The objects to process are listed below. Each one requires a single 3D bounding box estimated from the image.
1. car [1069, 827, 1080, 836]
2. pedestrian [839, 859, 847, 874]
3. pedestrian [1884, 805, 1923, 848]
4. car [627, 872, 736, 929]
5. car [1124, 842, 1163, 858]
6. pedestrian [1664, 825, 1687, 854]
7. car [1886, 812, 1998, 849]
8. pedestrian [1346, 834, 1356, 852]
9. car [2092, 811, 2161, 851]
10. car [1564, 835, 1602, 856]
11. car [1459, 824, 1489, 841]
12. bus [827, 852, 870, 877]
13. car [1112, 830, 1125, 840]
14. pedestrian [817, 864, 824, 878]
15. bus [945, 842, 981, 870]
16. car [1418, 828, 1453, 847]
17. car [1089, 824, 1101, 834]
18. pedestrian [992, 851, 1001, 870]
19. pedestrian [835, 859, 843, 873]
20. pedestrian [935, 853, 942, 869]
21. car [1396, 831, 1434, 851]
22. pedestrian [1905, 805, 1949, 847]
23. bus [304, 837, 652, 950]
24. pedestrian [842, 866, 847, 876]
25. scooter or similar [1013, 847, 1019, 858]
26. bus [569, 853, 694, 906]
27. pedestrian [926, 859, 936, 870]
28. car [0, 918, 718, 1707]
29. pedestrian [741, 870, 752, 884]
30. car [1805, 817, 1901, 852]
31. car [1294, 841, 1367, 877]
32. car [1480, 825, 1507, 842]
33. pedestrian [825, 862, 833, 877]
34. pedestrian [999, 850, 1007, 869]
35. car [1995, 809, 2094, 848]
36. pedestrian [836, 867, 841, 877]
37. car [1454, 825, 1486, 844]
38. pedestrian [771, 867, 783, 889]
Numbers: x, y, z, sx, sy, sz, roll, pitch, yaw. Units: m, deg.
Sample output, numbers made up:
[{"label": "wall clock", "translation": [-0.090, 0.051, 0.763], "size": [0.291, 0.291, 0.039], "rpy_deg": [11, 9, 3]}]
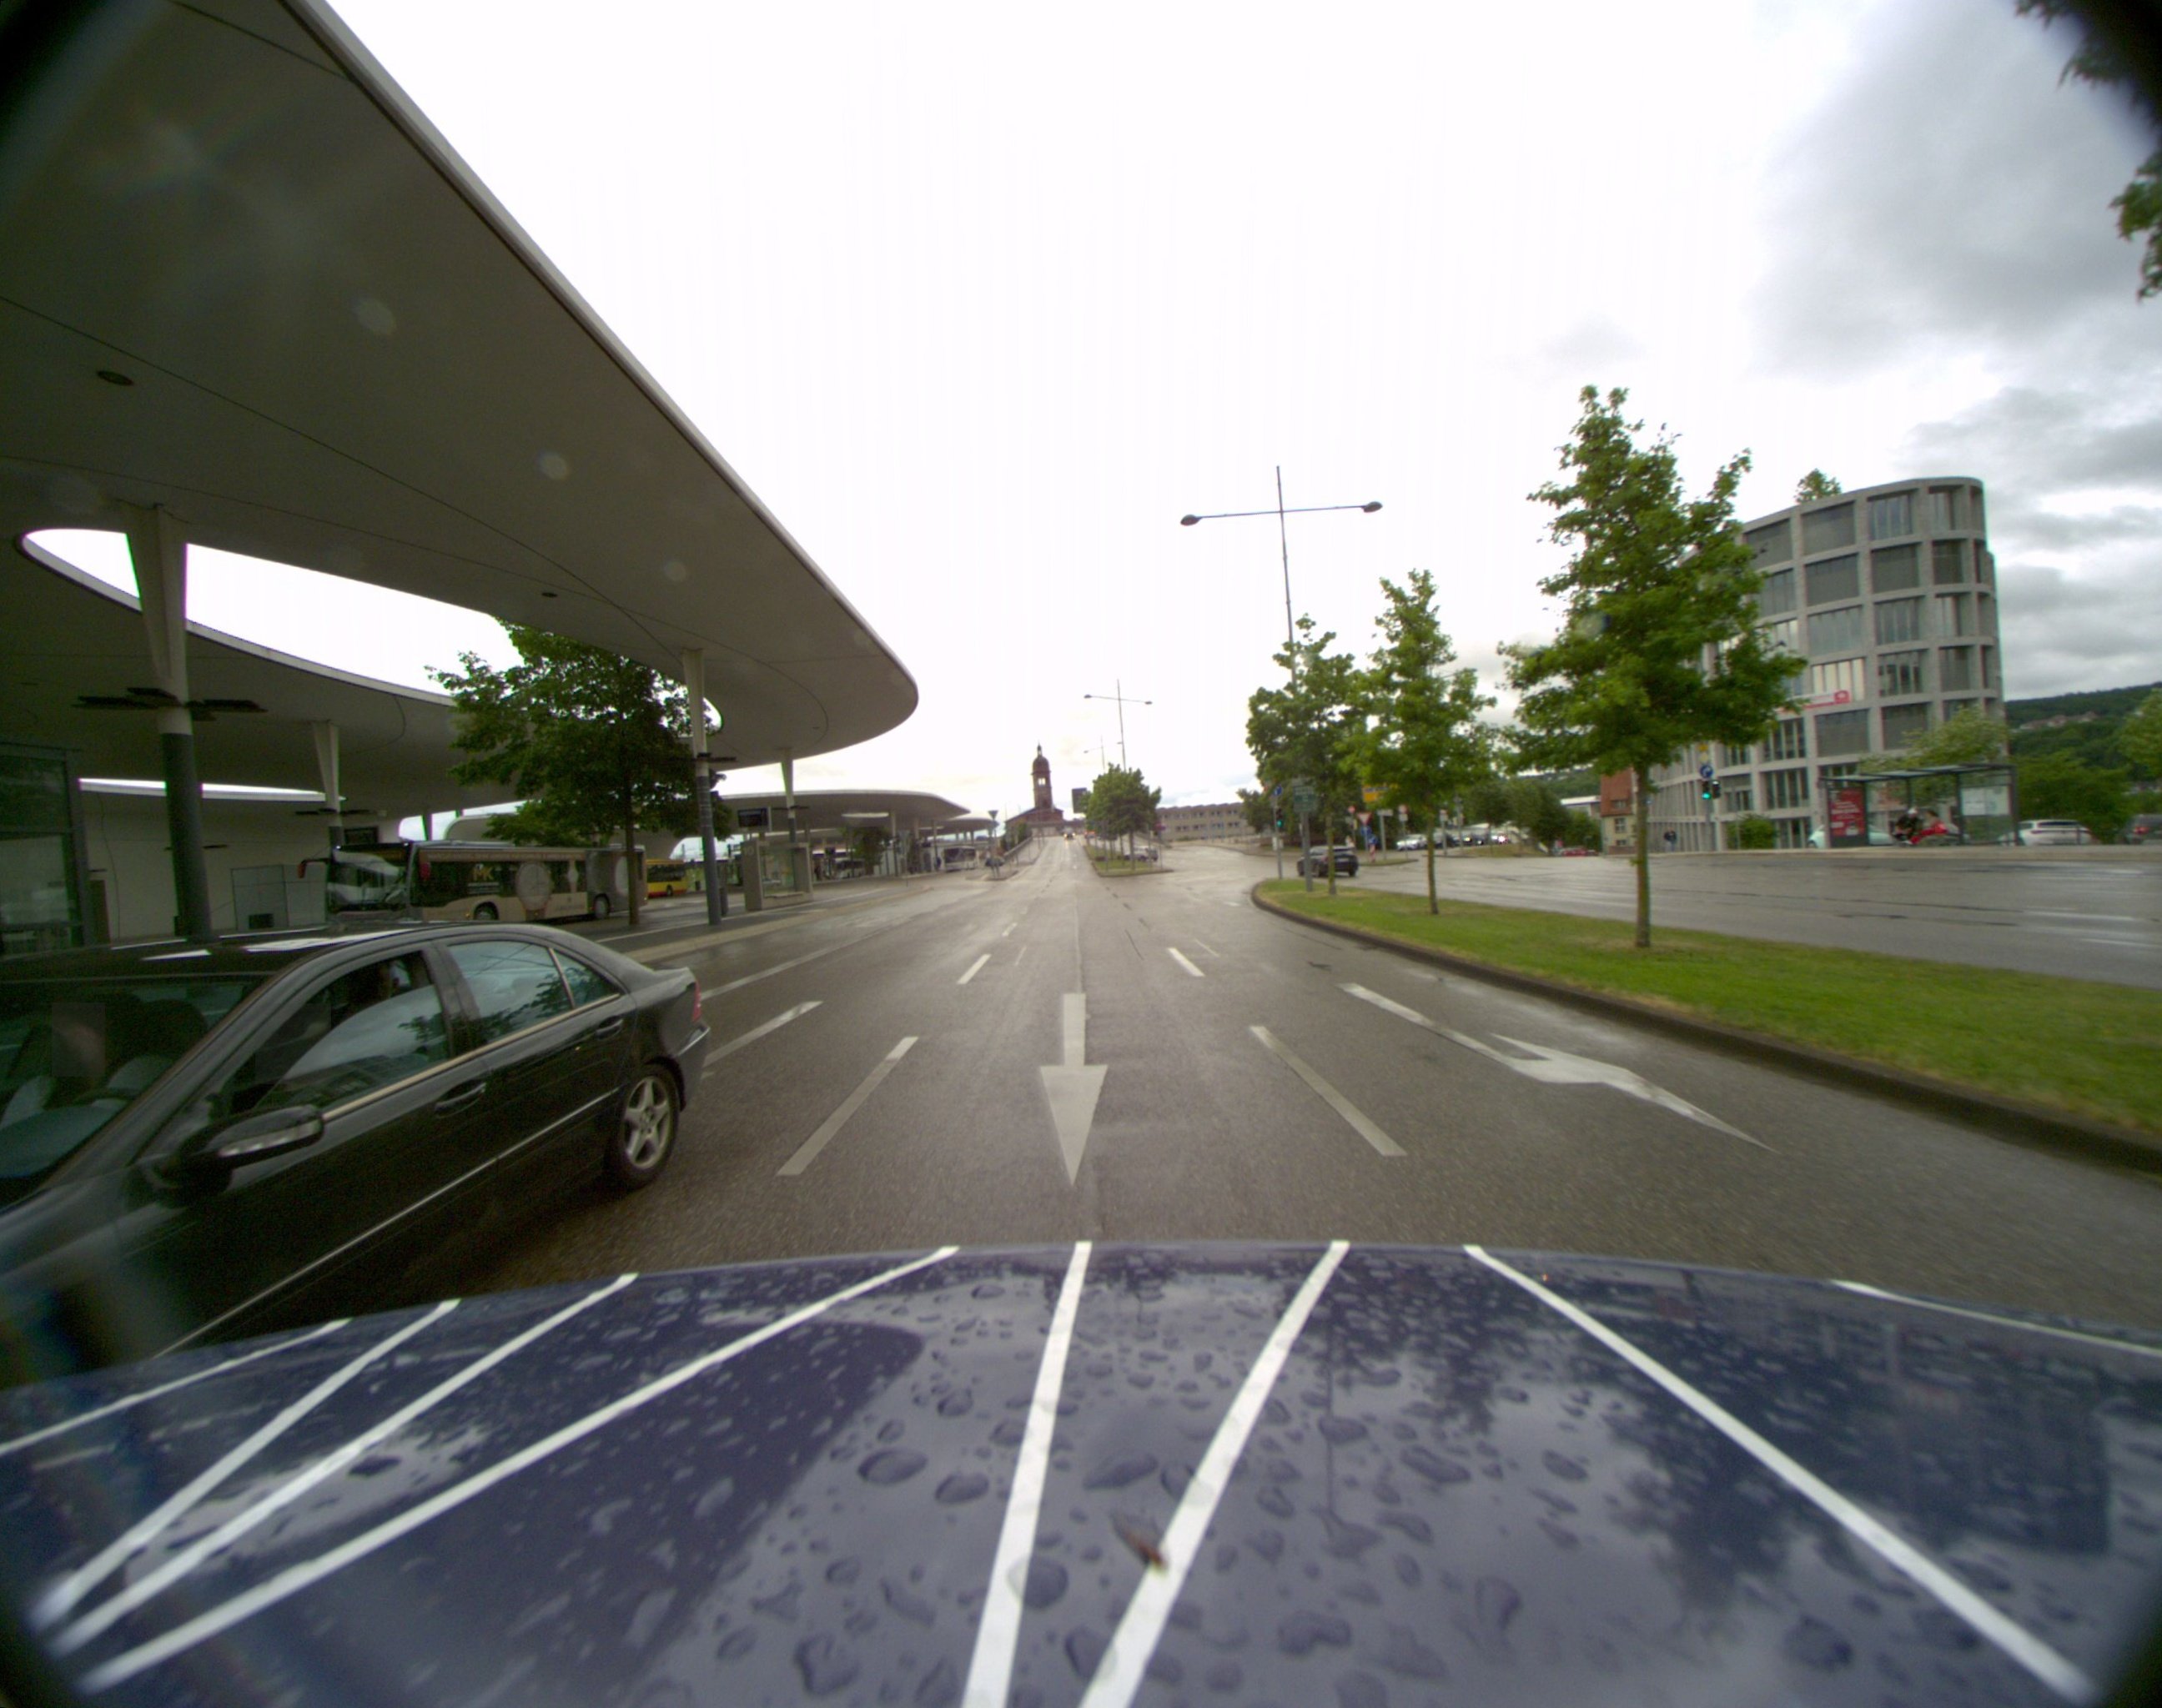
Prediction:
[{"label": "car", "translation": [-1.288, -4.348, 146.980], "size": [1.852, 1.643, 4.417], "rpy_deg": [-4, 1, -3]}, {"label": "pedestrian", "translation": [-28.030, 1.463, 89.423], "size": [0.644, 1.645, 0.638], "rpy_deg": [-4, 1, -40]}, {"label": "pedestrian", "translation": [29.204, -0.974, 26.996], "size": [0.680, 1.460, 0.625], "rpy_deg": [-4, 1, -2]}, {"label": "car", "translation": [-12.188, 1.369, 23.426], "size": [1.651, 1.444, 3.237], "rpy_deg": [-4, 0, -2]}, {"label": "car", "translation": [6.035, -0.372, 73.611], "size": [1.640, 1.440, 3.866], "rpy_deg": [-4, 2, -34]}, {"label": "pedestrian", "translation": [33.571, -0.820, 42.904], "size": [0.673, 1.574, 0.705], "rpy_deg": [-4, 2, -3]}, {"label": "car", "translation": [39.112, -1.066, 34.636], "size": [1.630, 1.487, 3.585], "rpy_deg": [-3, 1, 15]}, {"label": "pedestrian", "translation": [24.540, -0.978, 69.073], "size": [0.653, 1.562, 0.631], "rpy_deg": [-2, 3, 5]}, {"label": "car", "translation": [43.057, -0.959, 30.781], "size": [1.628, 1.487, 3.588], "rpy_deg": [-2, 1, 38]}, {"label": "car", "translation": [41.915, -0.757, 63.375], "size": [4.040, 1.543, 1.823], "rpy_deg": [-4, 1, -44]}, {"label": "car", "translation": [39.506, -2.162, 76.354], "size": [1.723, 1.559, 3.845], "rpy_deg": [-2, 2, 42]}, {"label": "bus", "translation": [-35.593, 1.538, 116.790], "size": [2.795, 3.239, 12.137], "rpy_deg": [-4, 1, -1]}, {"label": "car", "translation": [6.361, -3.215, 129.587], "size": [1.852, 1.495, 4.918], "rpy_deg": [-4, 1, 1]}, {"label": "pedestrian", "translation": [-28.231, 1.814, 82.478], "size": [0.522, 1.494, 0.381], "rpy_deg": [-5, 2, -40]}, {"label": "bus", "translation": [-15.244, 0.215, 99.234], "size": [2.852, 3.342, 12.424], "rpy_deg": [-1, 0, -1]}, {"label": "car", "translation": [31.714, -1.486, 67.945], "size": [1.723, 1.559, 3.845], "rpy_deg": [-2, 2, 42]}, {"label": "car", "translation": [2.584, -4.680, 143.797], "size": [1.852, 1.643, 4.417], "rpy_deg": [-4, 1, -3]}, {"label": "pedestrian", "translation": [-7.489, 0.571, 67.220], "size": [0.590, 1.662, 0.580], "rpy_deg": [-6, 6, -1]}, {"label": "pedestrian", "translation": [-28.116, 1.410, 88.307], "size": [0.570, 1.645, 0.557], "rpy_deg": [-3, 1, 5]}, {"label": "pedestrian", "translation": [-16.888, 0.782, 90.260], "size": [0.585, 1.875, 0.649], "rpy_deg": [-2, -1, 9]}, {"label": "car", "translation": [31.189, -1.231, 70.897], "size": [1.882, 1.559, 4.148], "rpy_deg": [-2, 2, 44]}, {"label": "pedestrian", "translation": [29.198, -0.961, 26.225], "size": [0.680, 1.384, 0.720], "rpy_deg": [-4, 1, -2]}, {"label": "bus", "translation": [-20.188, 1.059, 27.208], "size": [2.728, 3.026, 12.087], "rpy_deg": [-3, 1, 0]}, {"label": "pedestrian", "translation": [-27.234, 1.943, 87.454], "size": [0.395, 1.138, 0.364], "rpy_deg": [-2, 2, 41]}, {"label": "scooter or similar", "translation": [-7.275, -0.166, 85.027], "size": [0.465, 1.214, 1.859], "rpy_deg": [-4, 1, -1]}, {"label": "bus", "translation": [-35.020, 1.803, 60.003], "size": [2.796, 3.239, 12.133], "rpy_deg": [-4, 2, -2]}, {"label": "pedestrian", "translation": [-17.733, 1.277, 89.740], "size": [0.954, 1.247, 0.648], "rpy_deg": [-1, -1, -24]}, {"label": "car", "translation": [-2.963, 1.091, 2.300], "size": [1.702, 1.453, 4.304], "rpy_deg": [-2, -1, -1]}, {"label": "pedestrian", "translation": [-37.517, 2.580, 85.198], "size": [0.711, 1.318, 0.801], "rpy_deg": [-6, 4, 7]}, {"label": "car", "translation": [37.071, -0.937, 36.611], "size": [1.630, 1.487, 3.585], "rpy_deg": [-3, 1, 15]}, {"label": "car", "translation": [11.803, 0.218, 36.284], "size": [1.685, 1.519, 4.637], "rpy_deg": [-3, 1, -3]}, {"label": "car", "translation": [45.500, -2.269, 83.773], "size": [1.723, 1.559, 3.845], "rpy_deg": [-2, 2, 42]}, {"label": "pedestrian", "translation": [-27.977, 1.748, 84.405], "size": [0.590, 1.580, 0.677], "rpy_deg": [-3, 1, -5]}, {"label": "pedestrian", "translation": [-6.890, 0.503, 67.311], "size": [0.524, 1.662, 0.580], "rpy_deg": [-5, 4, -1]}, {"label": "car", "translation": [40.820, -1.087, 32.297], "size": [1.761, 1.487, 3.795], "rpy_deg": [-2, 1, 38]}, {"label": "pedestrian", "translation": [-27.711, 2.072, 86.872], "size": [0.391, 1.075, 0.352], "rpy_deg": [-2, 2, 41]}, {"label": "car", "translation": [37.069, -1.886, 72.353], "size": [1.723, 1.559, 3.845], "rpy_deg": [-2, 2, 42]}, {"label": "pedestrian", "translation": [-22.951, 1.806, 57.403], "size": [0.720, 1.674, 1.019], "rpy_deg": [-2, 1, -26]}]
